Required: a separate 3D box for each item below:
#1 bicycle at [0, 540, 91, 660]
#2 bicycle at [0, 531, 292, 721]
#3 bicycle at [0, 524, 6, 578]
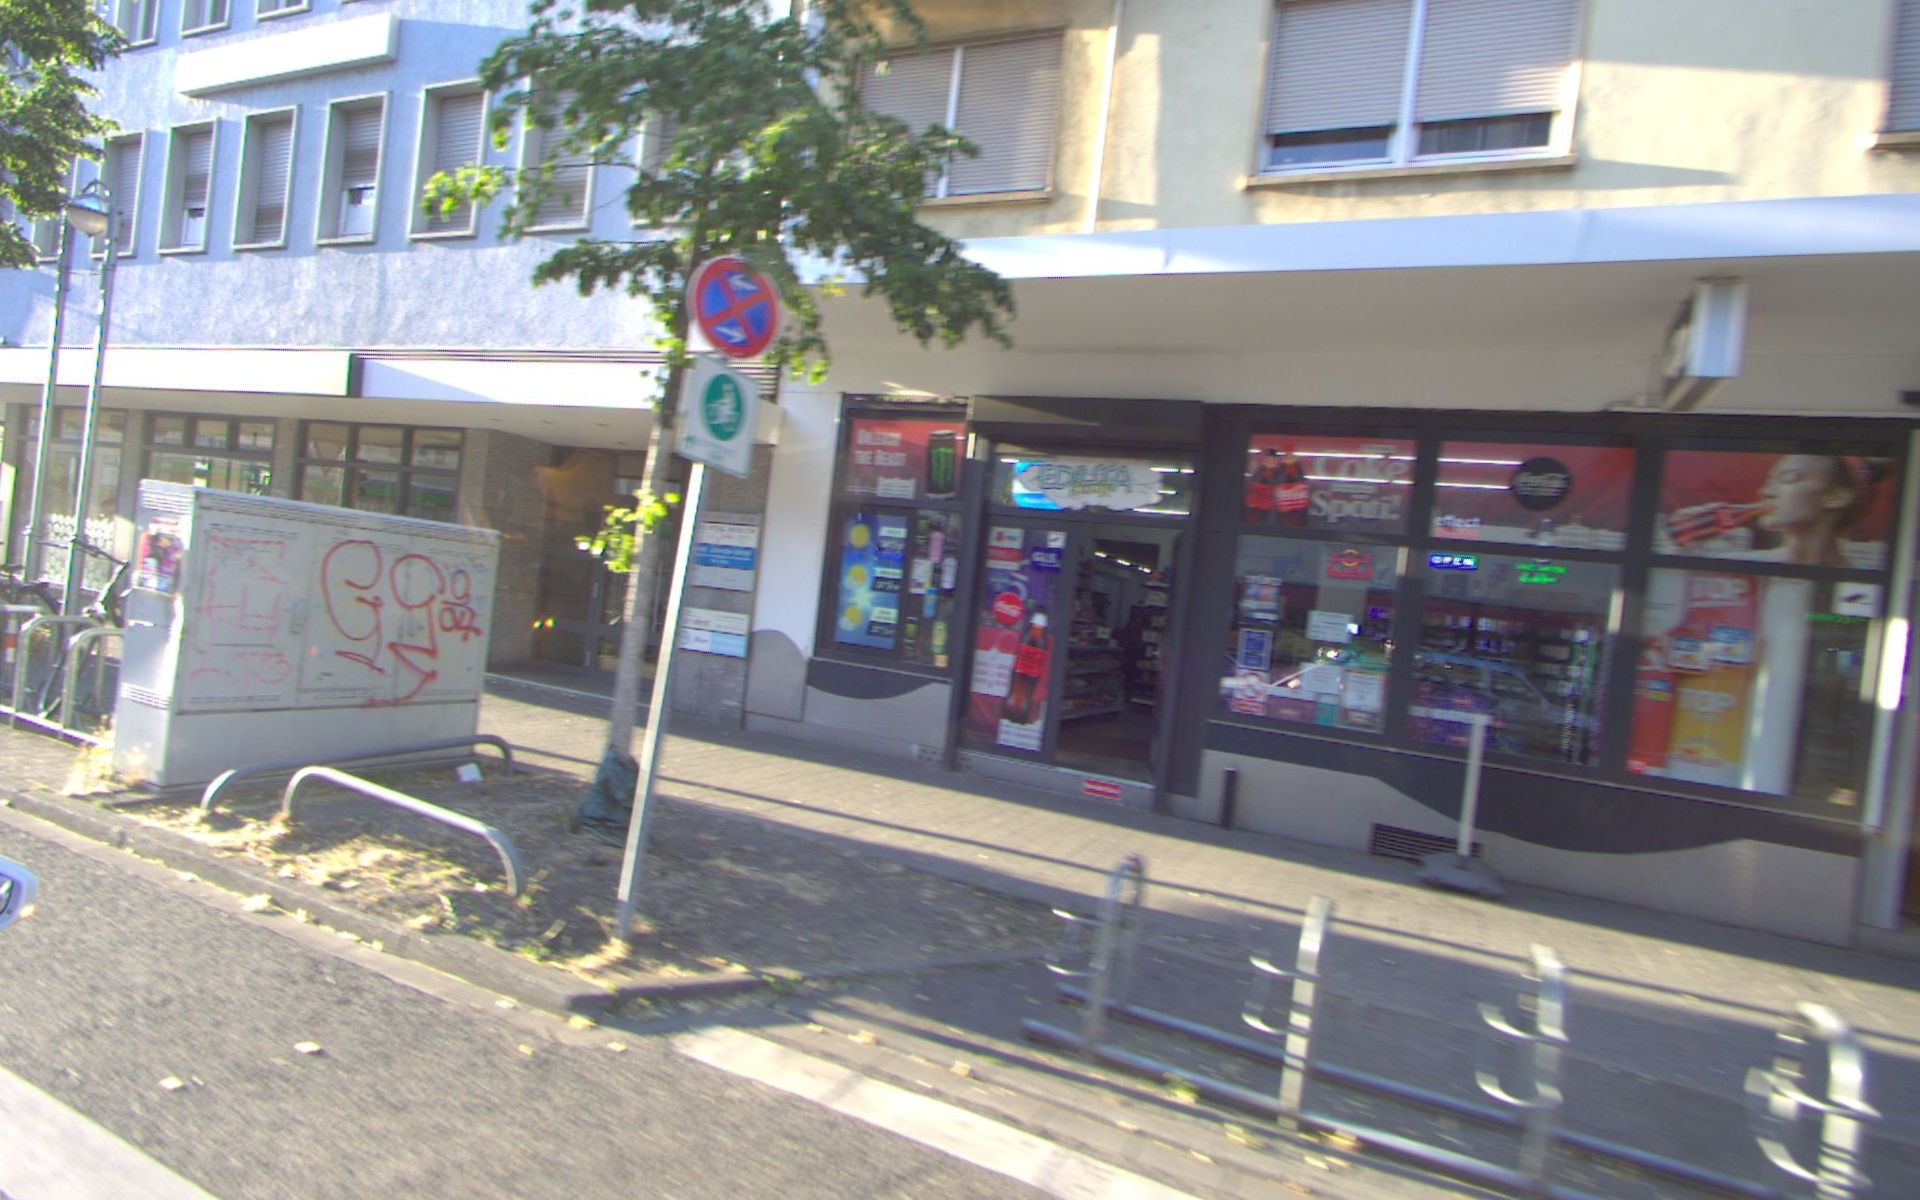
[{"bbox_3d":[-9.283,-0.036,9.828,1.639,1.023,0.404,7,2,20],"label":"bicycle"},{"bbox_3d":[-5.942,0.205,7.467,0.484,1.208,1.663,7,-1,12],"label":"bicycle"},{"bbox_3d":[-9.313,-0.165,8.525,0.468,1.208,1.663,7,-1,20],"label":"bicycle"}]
